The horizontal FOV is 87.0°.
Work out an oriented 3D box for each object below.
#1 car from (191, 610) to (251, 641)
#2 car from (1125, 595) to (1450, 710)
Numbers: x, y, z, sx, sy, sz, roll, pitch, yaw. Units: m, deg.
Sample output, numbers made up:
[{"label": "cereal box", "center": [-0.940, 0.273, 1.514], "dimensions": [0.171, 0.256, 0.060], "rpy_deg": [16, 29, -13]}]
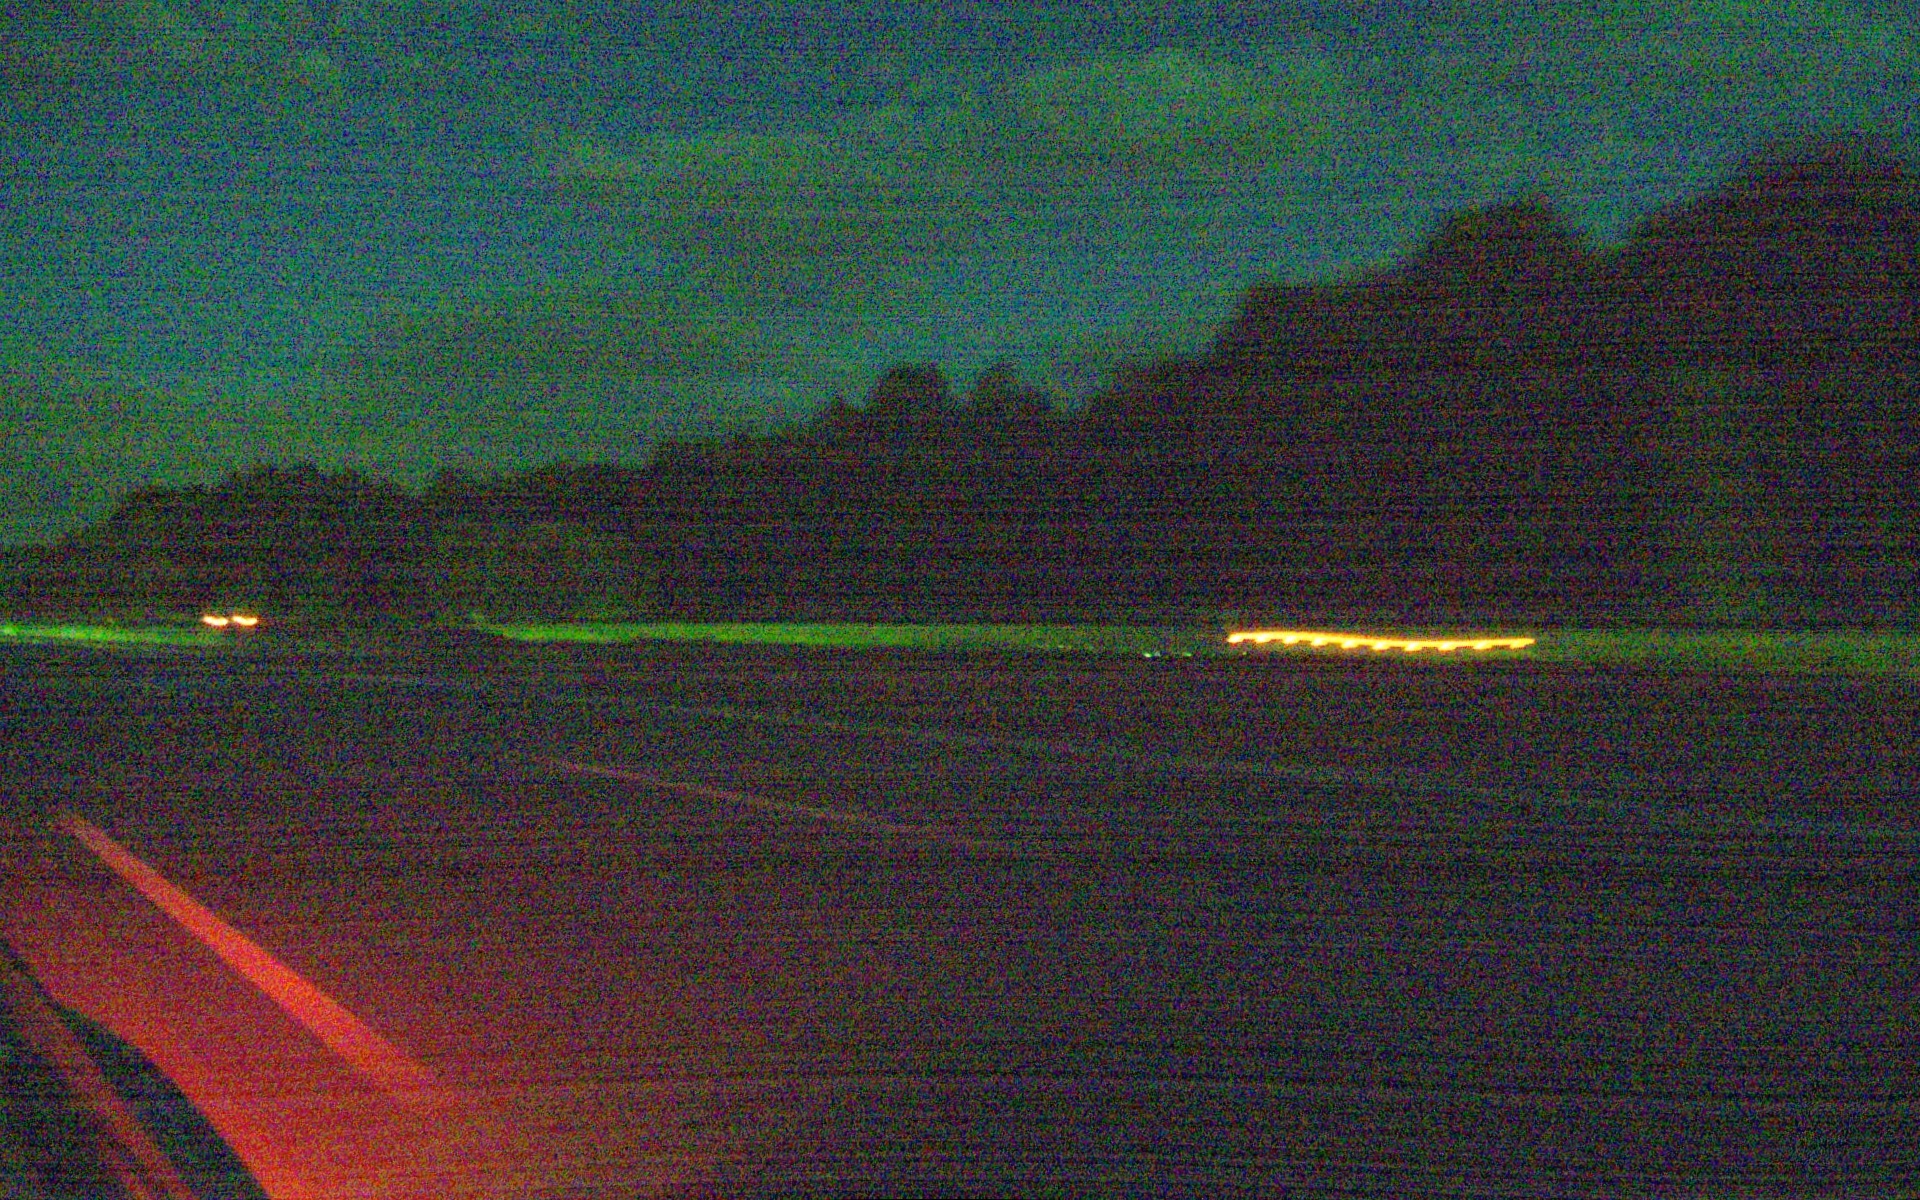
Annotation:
[{"label": "car", "center": [-45.258, 1.532, 61.946], "dimensions": [4.395, 1.800, 1.974], "rpy_deg": [0, 0, 40]}, {"label": "car", "center": [4.786, 0.684, 15.120], "dimensions": [4.207, 1.479, 1.972], "rpy_deg": [0, 0, 42]}]
